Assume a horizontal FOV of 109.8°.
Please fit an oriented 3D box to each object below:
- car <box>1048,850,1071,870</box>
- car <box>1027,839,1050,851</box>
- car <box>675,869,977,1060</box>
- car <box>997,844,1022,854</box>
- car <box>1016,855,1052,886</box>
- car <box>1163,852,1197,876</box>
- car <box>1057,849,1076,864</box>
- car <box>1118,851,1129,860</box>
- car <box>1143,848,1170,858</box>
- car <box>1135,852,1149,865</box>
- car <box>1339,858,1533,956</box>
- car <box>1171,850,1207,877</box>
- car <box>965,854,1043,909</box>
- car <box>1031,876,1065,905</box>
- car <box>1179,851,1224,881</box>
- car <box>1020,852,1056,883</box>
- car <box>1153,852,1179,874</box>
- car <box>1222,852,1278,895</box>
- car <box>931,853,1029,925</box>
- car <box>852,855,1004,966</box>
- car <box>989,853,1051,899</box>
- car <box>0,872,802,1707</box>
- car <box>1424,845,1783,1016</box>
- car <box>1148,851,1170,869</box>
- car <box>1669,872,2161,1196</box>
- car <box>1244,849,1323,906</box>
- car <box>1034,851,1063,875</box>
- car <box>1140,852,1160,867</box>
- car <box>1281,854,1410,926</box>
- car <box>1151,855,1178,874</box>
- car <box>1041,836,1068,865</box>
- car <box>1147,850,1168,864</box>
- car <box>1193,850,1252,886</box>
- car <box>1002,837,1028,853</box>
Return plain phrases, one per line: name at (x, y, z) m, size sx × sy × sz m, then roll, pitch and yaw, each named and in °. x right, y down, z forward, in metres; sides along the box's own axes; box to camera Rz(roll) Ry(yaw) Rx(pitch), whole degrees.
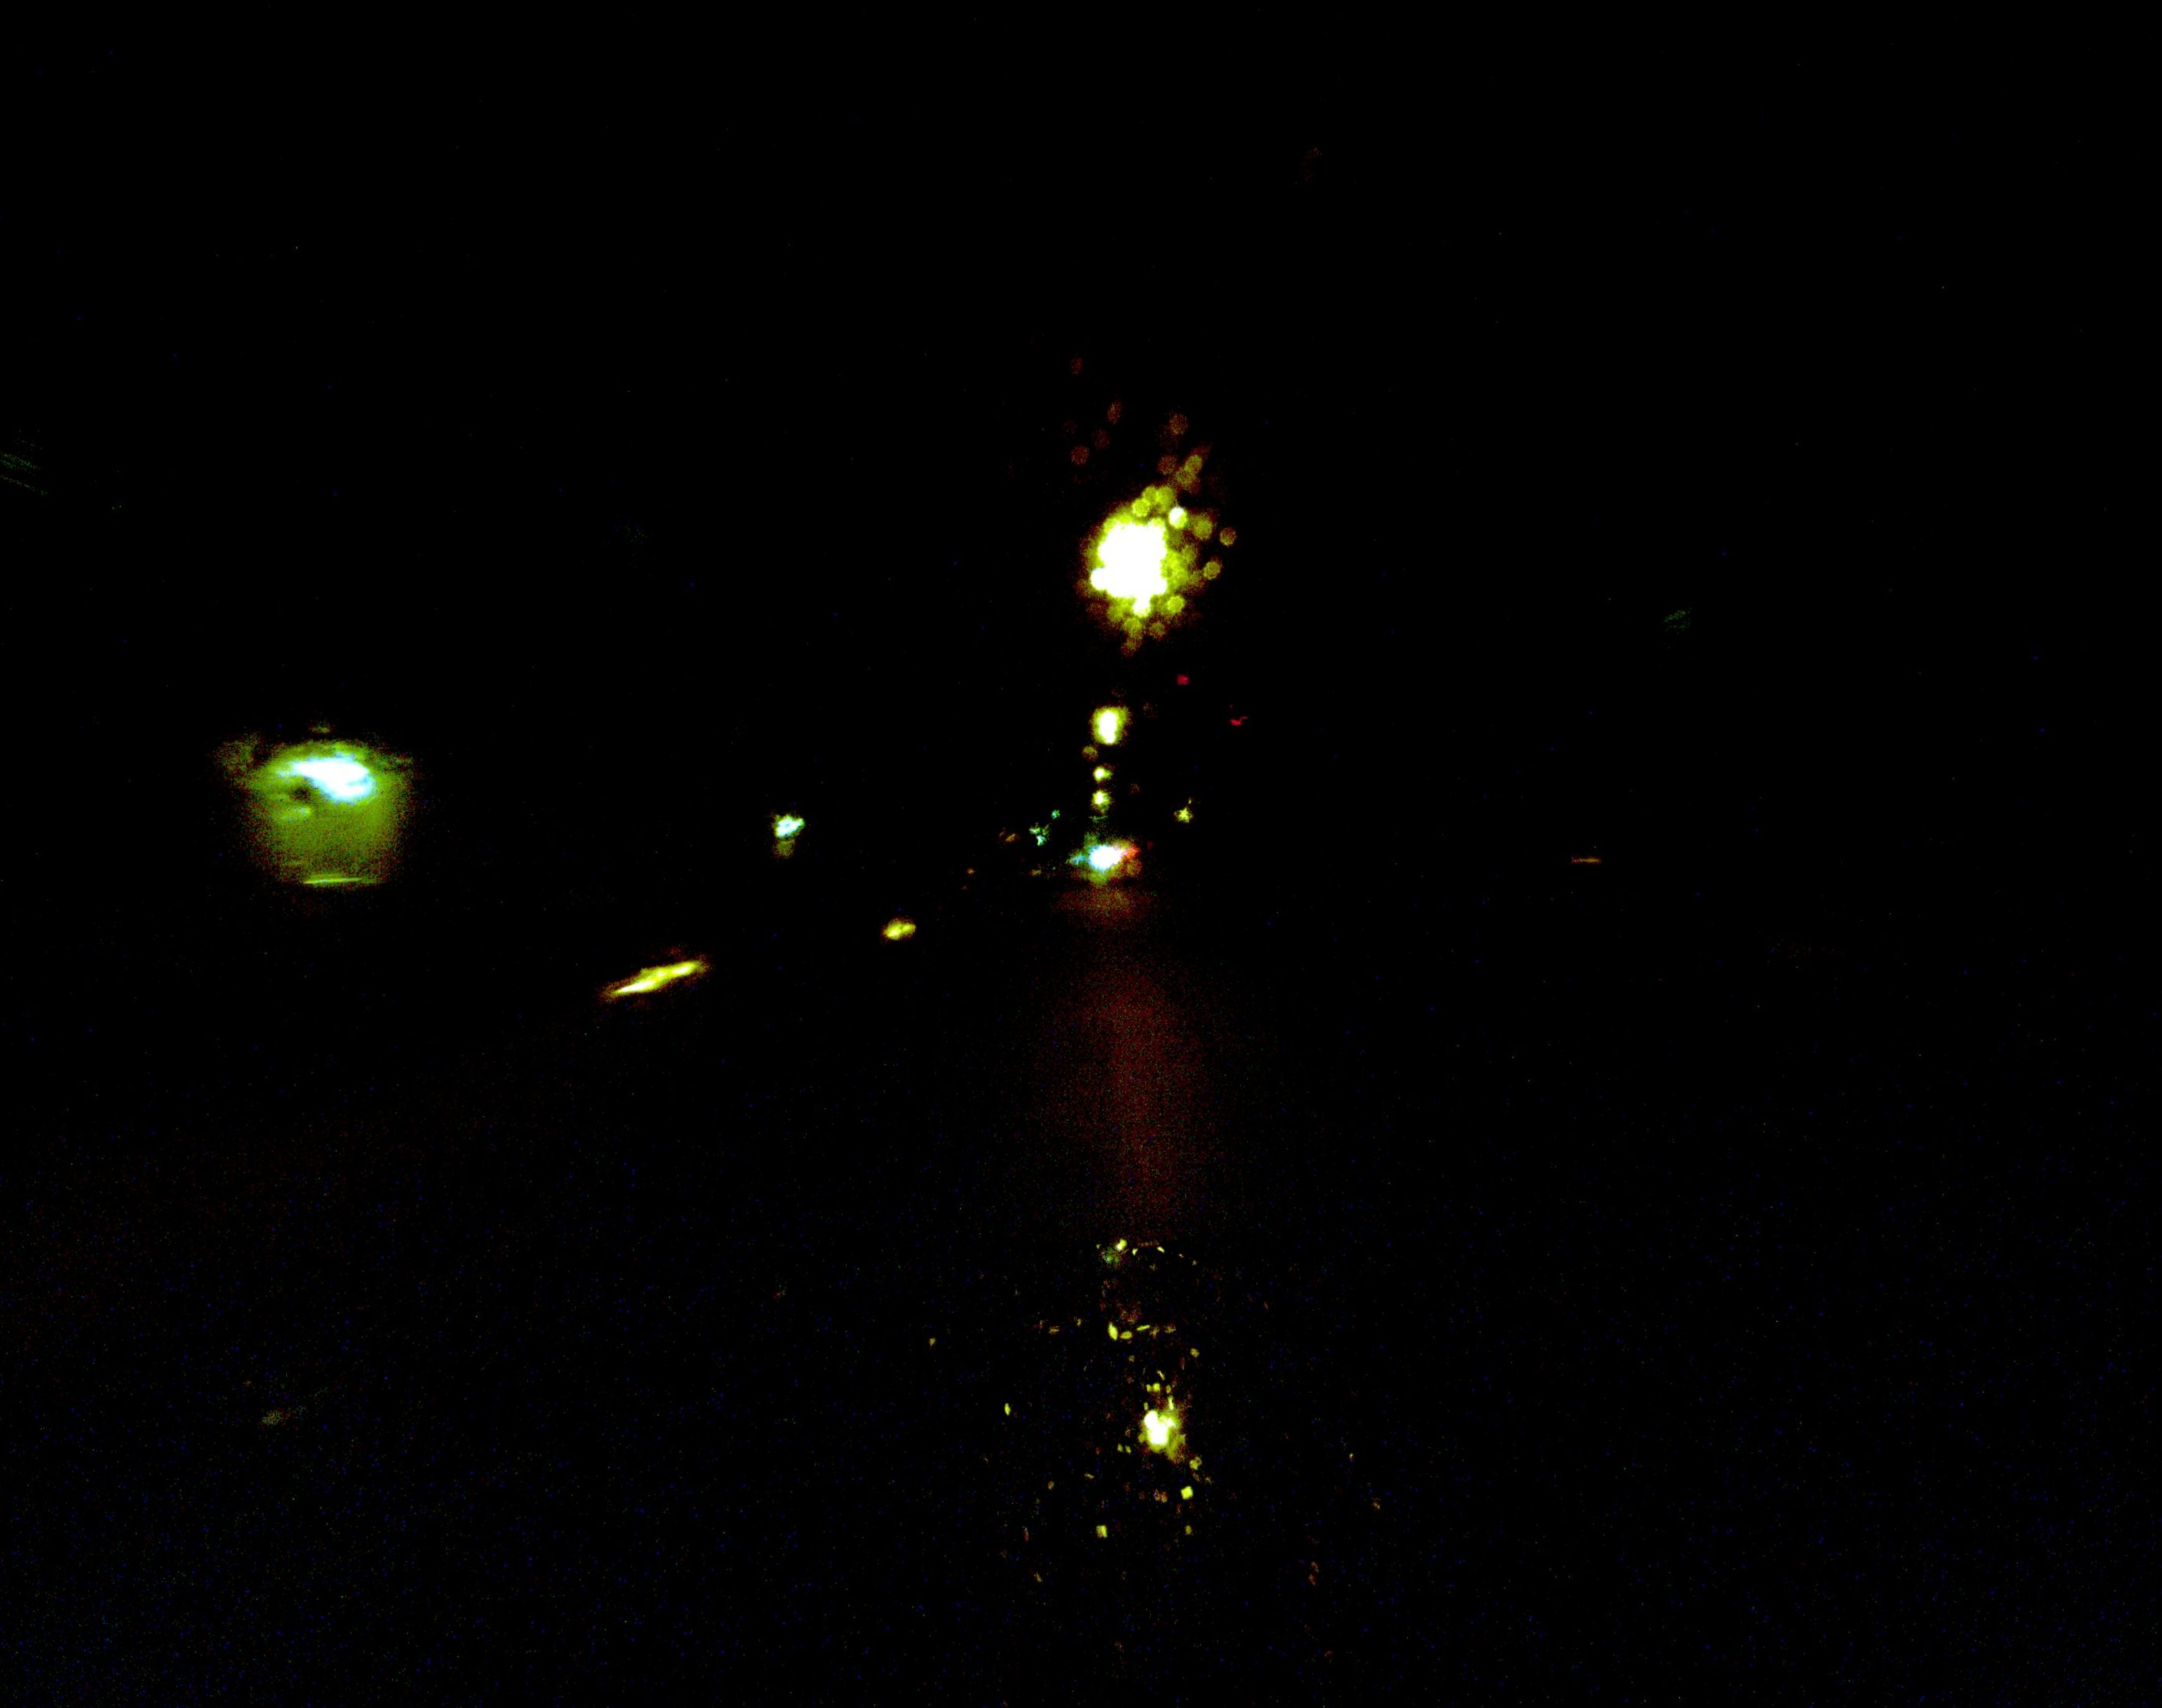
car at (-1.882, 0.481, 66.498) m, size 1.872 × 1.570 × 4.746 m, roll 2°, pitch 0°, yaw -2°
car at (-7.912, -1.691, 142.425) m, size 4.021 × 2.156 × 1.802 m, roll 2°, pitch 1°, yaw 7°
car at (-2.421, 0.962, 8.526) m, size 1.827 × 1.413 × 4.488 m, roll 2°, pitch 0°, yaw 0°
car at (-10.969, -0.795, 117.286) m, size 3.663 × 1.448 × 1.666 m, roll 2°, pitch 1°, yaw 1°
car at (-2.124, 0.720, 35.271) m, size 1.460 × 1.298 × 3.628 m, roll 2°, pitch 0°, yaw -1°
car at (6.896, 0.689, 53.215) m, size 1.670 × 1.531 × 4.390 m, roll 2°, pitch 0°, yaw -1°
car at (-1.535, 0.230, 79.116) m, size 1.800 × 1.464 × 3.950 m, roll 2°, pitch 0°, yaw -2°
car at (7.744, 0.274, 138.561) m, size 2.044 × 1.539 × 4.683 m, roll 0°, pitch 0°, yaw 2°
car at (13.392, -0.186, 135.193) m, size 4.539 × 1.696 × 1.853 m, roll 2°, pitch 1°, yaw 15°
car at (7.574, 0.526, 94.686) m, size 1.627 × 1.464 × 3.963 m, roll 2°, pitch 0°, yaw 2°
car at (6.338, 0.851, 14.111) m, size 1.602 × 1.423 × 4.004 m, roll 4°, pitch 0°, yaw -1°
car at (6.823, 0.584, 48.212) m, size 1.670 × 1.531 × 4.391 m, roll 4°, pitch 0°, yaw 1°
car at (-2.386, 0.821, 24.637) m, size 1.829 × 1.539 × 4.353 m, roll 2°, pitch 0°, yaw 3°
car at (-1.905, 2.092, 44.729) m, size 1.800 × 1.439 × 4.279 m, roll 2°, pitch 0°, yaw -1°
car at (6.735, 0.634, 42.956) m, size 1.670 × 1.531 × 4.390 m, roll 4°, pitch 0°, yaw -1°
car at (-2.213, 0.663, 40.081) m, size 1.679 × 1.479 × 4.279 m, roll 2°, pitch 0°, yaw -1°
car at (6.616, 0.677, 59.302) m, size 1.669 × 1.531 × 4.391 m, roll 2°, pitch 0°, yaw 2°
car at (6.423, 0.705, 29.144) m, size 1.435 × 1.452 × 3.374 m, roll 4°, pitch 0°, yaw 2°
car at (-2.453, 0.788, 19.654) m, size 1.804 × 1.521 × 5.051 m, roll 2°, pitch 0°, yaw 0°
car at (-2.592, 0.869, 13.967) m, size 1.827 × 1.628 × 4.488 m, roll 2°, pitch 0°, yaw 0°
car at (-2.251, 0.781, 29.341) m, size 1.758 × 1.539 × 4.978 m, roll 2°, pitch 0°, yaw 2°
car at (-2.805, 0.925, 2.674) m, size 1.827 × 1.521 × 4.782 m, roll 2°, pitch 0°, yaw 0°
car at (6.134, 0.751, 9.660) m, size 1.602 × 1.596 × 4.258 m, roll 4°, pitch 0°, yaw 1°
car at (7.246, 0.556, 70.545) m, size 1.710 × 1.531 × 4.059 m, roll 3°, pitch 0°, yaw 2°
car at (6.076, 0.959, 4.654) m, size 1.602 × 1.478 × 4.274 m, roll 4°, pitch 0°, yaw 1°
car at (6.395, 0.703, 24.306) m, size 1.478 × 1.610 × 3.373 m, roll 4°, pitch 0°, yaw -1°
car at (-2.115, 0.555, 50.074) m, size 1.800 × 1.483 × 4.127 m, roll 2°, pitch 0°, yaw -2°
car at (7.284, 0.542, 80.927) m, size 1.799 × 1.464 × 4.396 m, roll 2°, pitch 0°, yaw 1°
car at (6.456, 0.789, 19.140) m, size 1.641 × 1.448 × 4.934 m, roll 4°, pitch 0°, yaw 3°
car at (7.070, 0.865, 64.662) m, size 1.623 × 1.410 × 4.675 m, roll 2°, pitch 0°, yaw -1°
car at (-1.953, -0.280, 55.996) m, size 1.800 × 1.939 × 5.852 m, roll 2°, pitch 0°, yaw -2°
car at (7.627, 0.270, 75.719) m, size 1.842 × 1.261 × 4.638 m, roll 2°, pitch 0°, yaw 3°
car at (6.959, 0.649, 37.704) m, size 1.751 × 1.588 × 4.388 m, roll 4°, pitch 0°, yaw -4°
car at (-10.818, -1.488, 124.715) m, size 4.021 × 2.603 × 1.802 m, roll 2°, pitch 1°, yaw 7°
